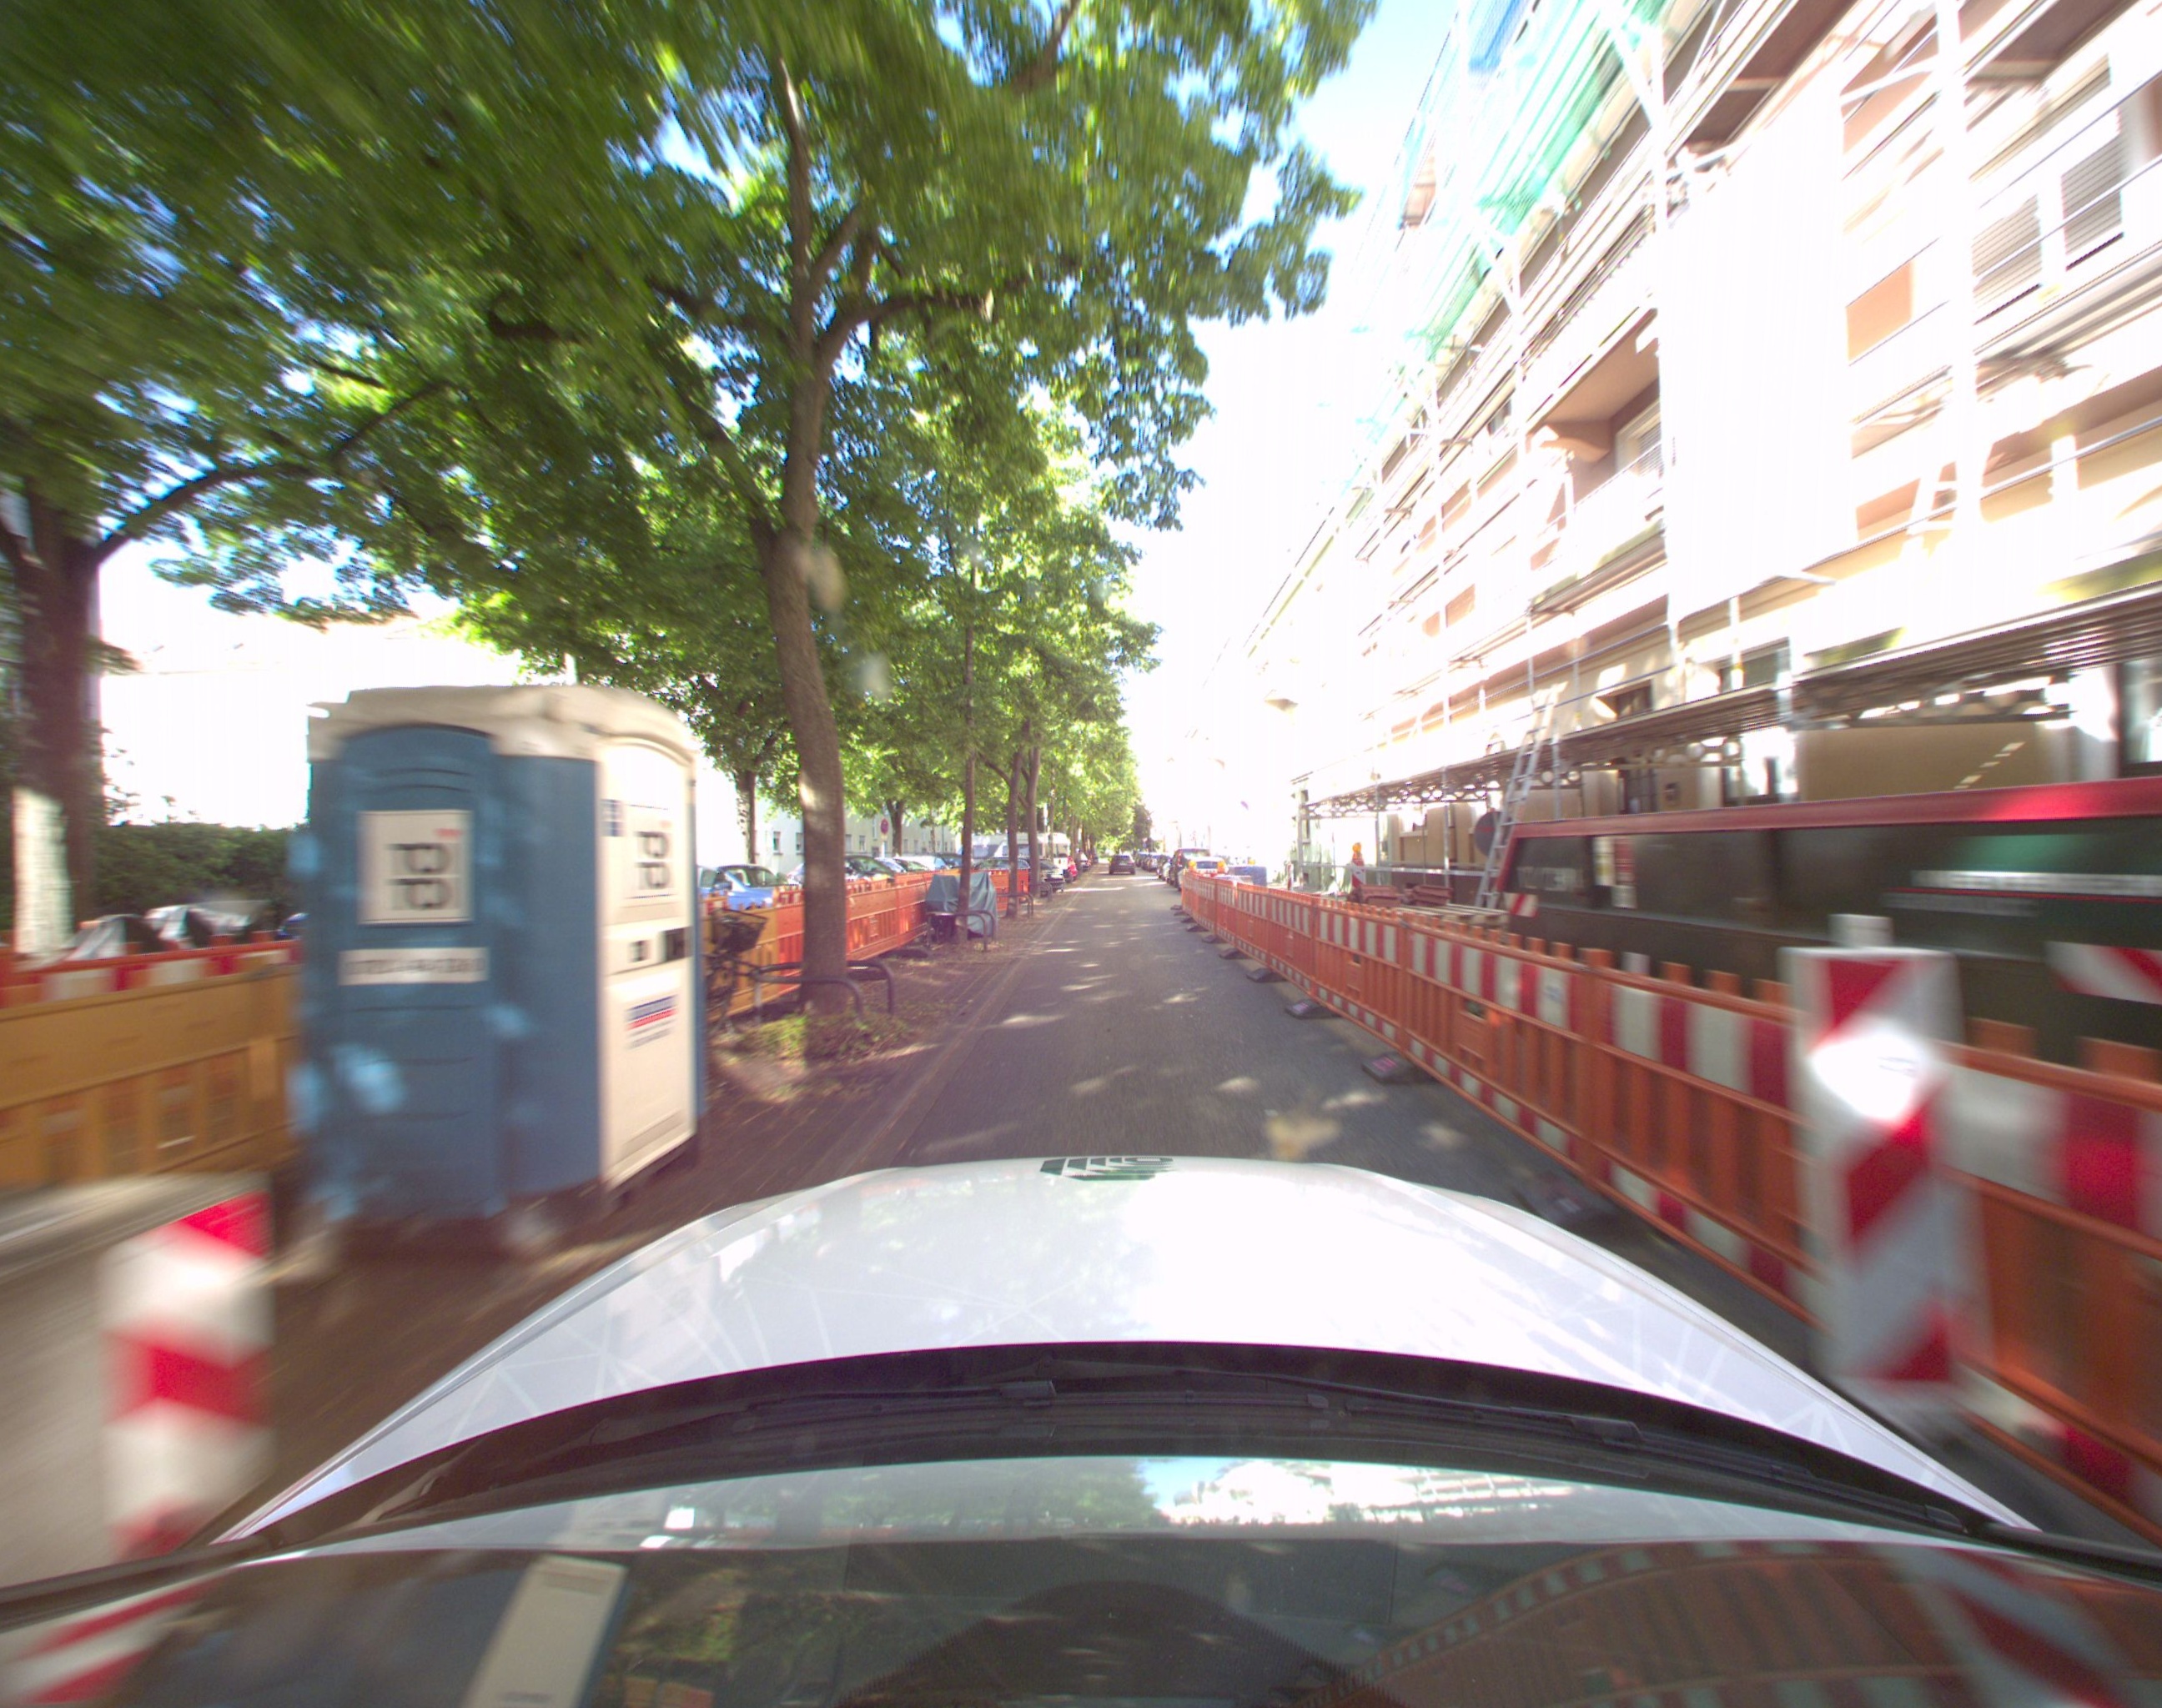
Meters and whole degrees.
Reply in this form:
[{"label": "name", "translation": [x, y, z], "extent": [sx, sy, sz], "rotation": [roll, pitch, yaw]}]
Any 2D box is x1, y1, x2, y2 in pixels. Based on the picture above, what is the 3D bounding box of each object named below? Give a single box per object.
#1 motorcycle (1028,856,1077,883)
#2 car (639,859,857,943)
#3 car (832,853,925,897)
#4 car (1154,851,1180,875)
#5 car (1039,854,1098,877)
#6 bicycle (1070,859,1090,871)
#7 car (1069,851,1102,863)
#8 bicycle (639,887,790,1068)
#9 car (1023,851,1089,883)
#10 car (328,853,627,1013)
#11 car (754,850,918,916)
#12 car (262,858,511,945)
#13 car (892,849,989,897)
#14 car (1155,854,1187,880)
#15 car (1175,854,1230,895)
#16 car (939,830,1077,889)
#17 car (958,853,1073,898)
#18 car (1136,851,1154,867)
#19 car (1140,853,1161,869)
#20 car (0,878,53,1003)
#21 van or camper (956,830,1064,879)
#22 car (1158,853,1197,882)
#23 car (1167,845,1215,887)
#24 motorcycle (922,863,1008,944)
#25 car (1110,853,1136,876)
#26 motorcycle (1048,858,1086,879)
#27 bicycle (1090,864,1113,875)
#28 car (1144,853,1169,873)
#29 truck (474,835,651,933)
[{"label": "motorcycle", "translation": [-1.423, 0.777, 40.482], "extent": [2.317, 1.335, 0.966], "rotation": [0, 0, -8]}, {"label": "car", "translation": [-6.475, 0.892, 15.828], "extent": [3.866, 1.461, 1.586], "rotation": [-2, 0, 22]}, {"label": "car", "translation": [-7.111, 0.707, 28.658], "extent": [2.923, 1.453, 1.250], "rotation": [0, 0, 18]}, {"label": "car", "translation": [5.762, 0.601, 54.768], "extent": [1.574, 1.551, 4.045], "rotation": [-1, 0, 3]}, {"label": "car", "translation": [-0.882, 0.817, 57.933], "extent": [3.968, 1.474, 1.637], "rotation": [-2, 0, 37]}, {"label": "bicycle", "translation": [-0.094, 0.967, 73.126], "extent": [1.796, 0.994, 0.428], "rotation": [-1, -1, 17]}, {"label": "car", "translation": [0.557, 0.414, 108.112], "extent": [4.089, 1.466, 1.860], "rotation": [0, -1, -10]}, {"label": "bicycle", "translation": [-2.712, 0.849, 6.185], "extent": [0.279, 1.156, 1.554], "rotation": [0, -1, 7]}, {"label": "car", "translation": [-1.405, 0.734, 44.598], "extent": [1.672, 1.618, 3.836], "rotation": [-2, 0, -38]}, {"label": "car", "translation": [-7.282, 0.829, 9.713], "extent": [3.948, 1.519, 1.681], "rotation": [-2, 0, 35]}, {"label": "car", "translation": [-6.655, 0.789, 22.077], "extent": [4.082, 1.626, 1.708], "rotation": [-2, 0, 25]}, {"label": "car", "translation": [-14.264, 0.893, 17.113], "extent": [1.615, 1.574, 4.193], "rotation": [0, 0, 0]}, {"label": "car", "translation": [-6.180, 0.810, 35.515], "extent": [2.012, 1.915, 4.330], "rotation": [-1, 0, -45]}, {"label": "car", "translation": [5.440, 0.758, 49.609], "extent": [1.593, 1.492, 3.968], "rotation": [-2, 0, 2]}, {"label": "car", "translation": [4.807, 0.768, 32.683], "extent": [1.698, 1.511, 4.286], "rotation": [-2, 0, 2]}, {"label": "car", "translation": [-3.427, 0.269, 37.585], "extent": [6.246, 2.559, 2.353], "rotation": [-1, -1, 34]}, {"label": "car", "translation": [-2.454, 0.740, 30.116], "extent": [4.047, 1.525, 1.713], "rotation": [0, 2, 33]}, {"label": "car", "translation": [6.659, 0.521, 85.034], "extent": [1.797, 1.563, 4.324], "rotation": [-2, 0, 3]}, {"label": "car", "translation": [6.393, 0.609, 75.289], "extent": [1.685, 1.468, 4.007], "rotation": [0, 0, 2]}, {"label": "car", "translation": [-14.550, 1.120, 8.731], "extent": [1.712, 1.559, 4.115], "rotation": [-2, 0, 2]}, {"label": "van or camper", "translation": [-4.352, 0.039, 49.469], "extent": [6.226, 2.825, 2.423], "rotation": [0, 0, 30]}, {"label": "car", "translation": [5.131, 0.692, 43.898], "extent": [1.601, 1.420, 4.569], "rotation": [-2, 0, 1]}, {"label": "car", "translation": [5.107, 0.537, 38.231], "extent": [1.765, 1.794, 3.990], "rotation": [-2, 0, 1]}, {"label": "motorcycle", "translation": [-2.047, 0.831, 14.685], "extent": [0.626, 1.324, 2.239], "rotation": [0, 0, 17]}, {"label": "car", "translation": [3.020, 0.736, 58.297], "extent": [1.707, 1.483, 4.148], "rotation": [-2, 0, 3]}, {"label": "motorcycle", "translation": [-0.822, 0.873, 48.297], "extent": [2.133, 1.230, 0.884], "rotation": [-1, 0, 10]}, {"label": "bicycle", "translation": [1.656, 1.279, 67.474], "extent": [1.881, 0.919, 0.381], "rotation": [0, 0, 21]}, {"label": "car", "translation": [5.994, 0.696, 64.858], "extent": [1.763, 1.431, 4.293], "rotation": [-2, 0, 2]}, {"label": "truck", "translation": [-14.237, 0.758, 22.726], "extent": [1.913, 2.409, 4.269], "rotation": [-2, 0, 4]}]
